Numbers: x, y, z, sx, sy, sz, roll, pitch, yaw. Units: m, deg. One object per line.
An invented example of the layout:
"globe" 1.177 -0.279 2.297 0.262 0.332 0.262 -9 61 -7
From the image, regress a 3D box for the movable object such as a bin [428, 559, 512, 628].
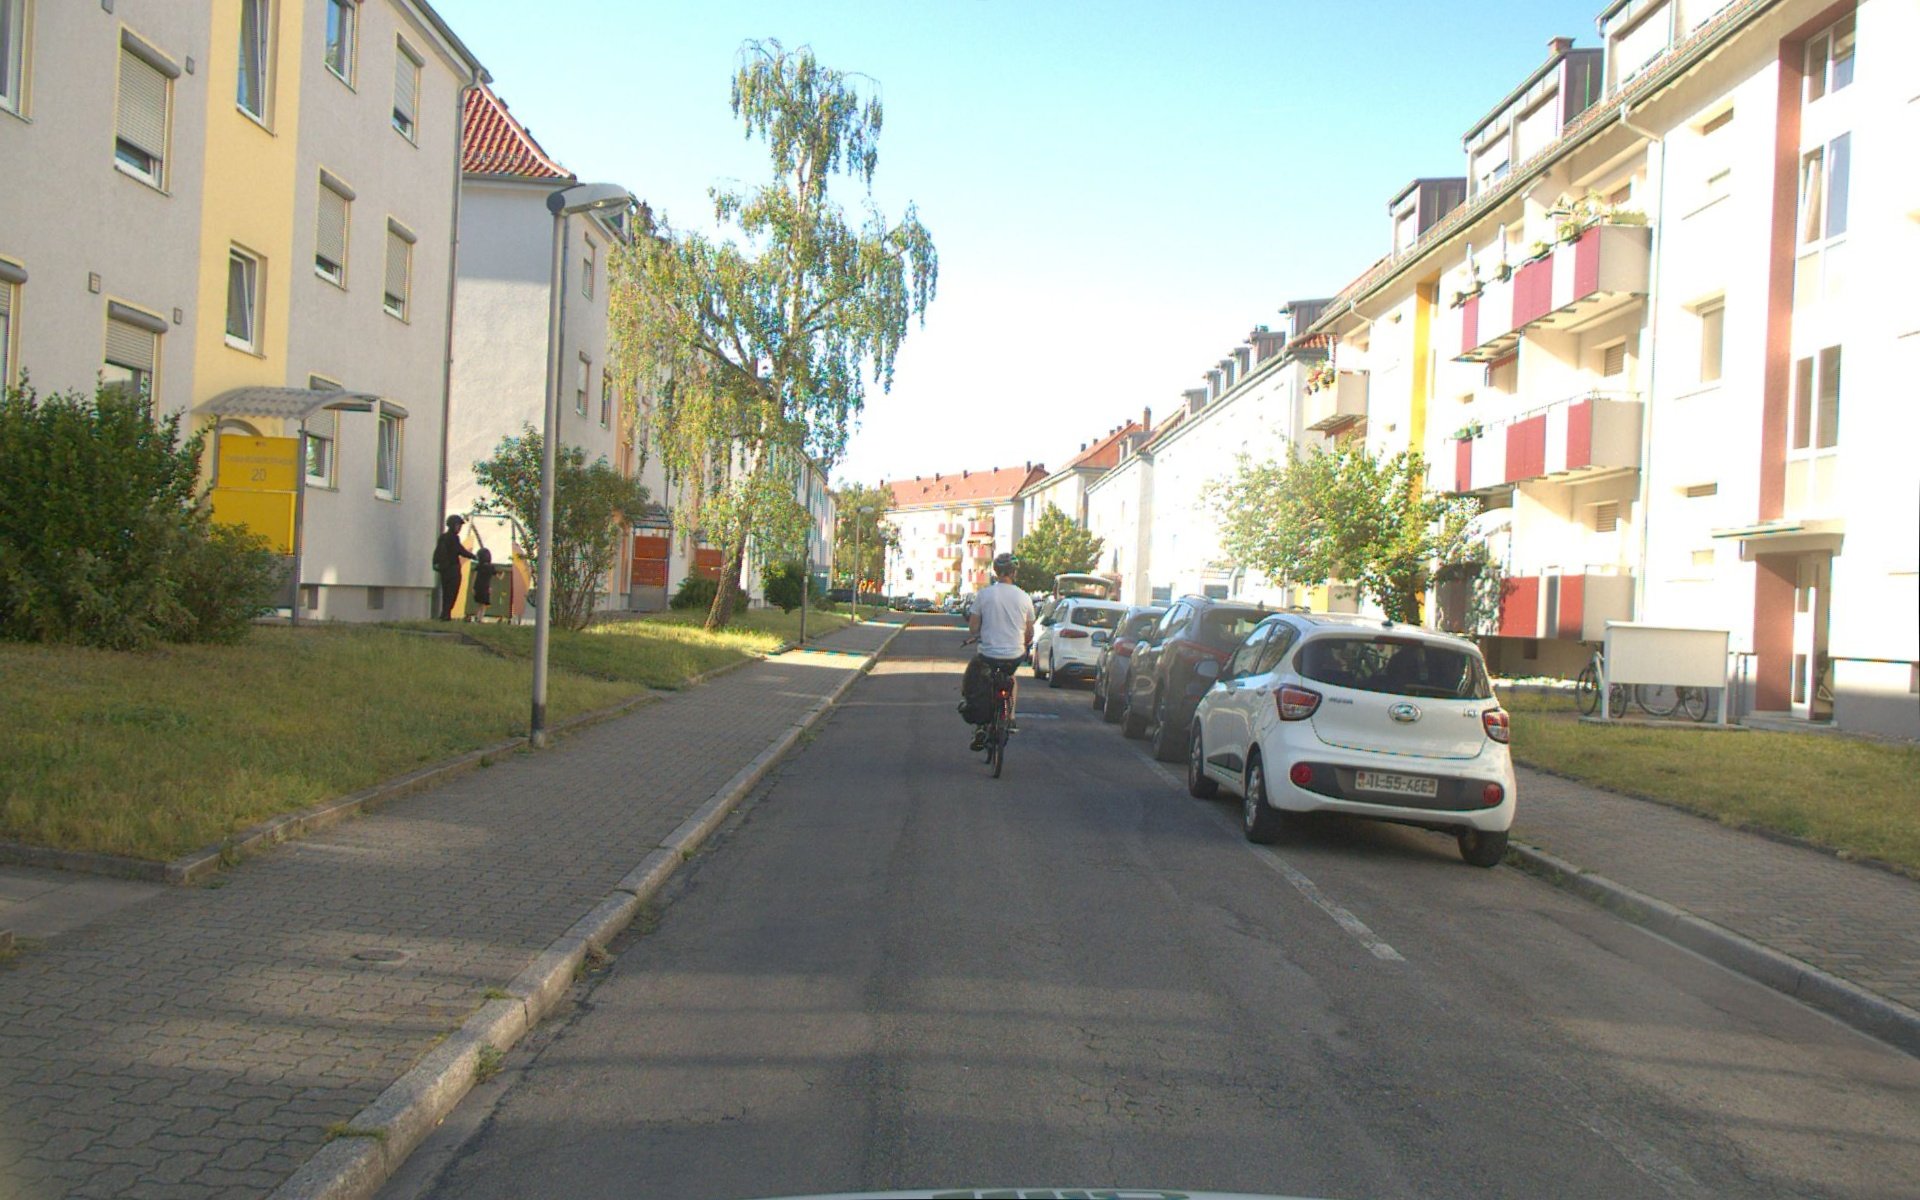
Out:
"movable object such as a bin" -10.537 -0.138 35.644 1.360 1.359 1.228 4 0 -1

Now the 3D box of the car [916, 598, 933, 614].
"car" -3.312 0.538 152.322 1.440 1.358 3.139 2 0 -3

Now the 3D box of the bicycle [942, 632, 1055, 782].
"bicycle" 0.300 0.888 14.418 0.792 1.148 2.100 2 0 -3

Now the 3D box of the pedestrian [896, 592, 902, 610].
"pedestrian" -5.484 0.119 148.842 0.425 1.602 0.543 2 0 -1

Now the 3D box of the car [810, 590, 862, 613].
"car" -10.025 0.093 133.833 4.149 1.667 1.581 2 0 -5

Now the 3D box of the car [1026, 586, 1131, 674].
"car" 2.531 0.605 36.386 1.953 1.640 4.996 4 0 1

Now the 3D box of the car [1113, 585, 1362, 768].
"car" 2.715 0.689 17.130 1.688 1.606 4.351 2 0 -2

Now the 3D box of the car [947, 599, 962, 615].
"car" -0.574 0.688 169.250 1.354 1.523 3.075 2 0 -3

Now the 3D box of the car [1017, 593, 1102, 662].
"car" 2.437 0.647 41.391 1.660 1.517 3.983 4 0 -2

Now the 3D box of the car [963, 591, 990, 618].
"car" 1.197 0.305 120.038 1.641 1.769 3.940 3 0 -3

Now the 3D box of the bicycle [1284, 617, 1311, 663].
"bicycle" 8.499 1.006 41.703 0.395 1.106 1.299 1 0 0

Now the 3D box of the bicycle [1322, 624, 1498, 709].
"bicycle" 6.654 0.970 24.554 2.373 1.149 0.880 2 0 5

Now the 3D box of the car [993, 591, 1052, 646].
"car" 2.073 0.585 56.036 1.747 1.676 4.468 4 0 0

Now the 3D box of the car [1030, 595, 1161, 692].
"car" 2.380 0.727 30.146 1.737 1.531 4.478 3 0 -3

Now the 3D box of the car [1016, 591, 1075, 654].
"car" 2.377 0.606 45.865 1.449 1.555 2.942 5 0 3

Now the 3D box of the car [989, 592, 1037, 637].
"car" 1.929 0.514 61.131 1.608 1.524 4.156 2 0 0

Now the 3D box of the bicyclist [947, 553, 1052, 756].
"bicyclist" 0.329 0.454 14.199 0.792 1.672 0.898 2 0 -3

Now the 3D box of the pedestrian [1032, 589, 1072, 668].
"pedestrian" 1.885 0.578 34.060 0.724 1.602 0.879 2 0 -1

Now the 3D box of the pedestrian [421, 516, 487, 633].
"pedestrian" -8.284 -0.414 27.106 0.789 1.855 0.718 2 0 0

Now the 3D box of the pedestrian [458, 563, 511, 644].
"pedestrian" -8.025 0.058 27.923 0.672 1.340 0.575 2 0 0

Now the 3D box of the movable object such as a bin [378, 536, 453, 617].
"movable object such as a bin" -10.079 -0.437 30.647 1.062 1.430 0.812 3 0 -1

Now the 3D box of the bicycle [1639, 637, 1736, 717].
"bicycle" 10.554 1.102 24.070 0.510 1.055 1.975 1 0 -1

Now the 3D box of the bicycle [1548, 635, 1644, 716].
"bicycle" 9.264 1.073 24.172 0.510 1.067 2.288 0 0 -1

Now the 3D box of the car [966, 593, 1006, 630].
"car" 1.296 0.573 85.478 1.824 1.697 4.126 4 0 -1

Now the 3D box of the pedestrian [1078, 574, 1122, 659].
"pedestrian" 2.878 0.333 34.032 0.803 1.717 0.604 1 0 -1

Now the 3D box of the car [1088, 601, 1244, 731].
"car" 2.688 0.811 22.371 1.613 1.474 4.061 4 0 2

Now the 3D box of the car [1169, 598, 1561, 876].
"car" 2.720 0.839 12.016 1.679 1.535 3.852 5 0 -2
